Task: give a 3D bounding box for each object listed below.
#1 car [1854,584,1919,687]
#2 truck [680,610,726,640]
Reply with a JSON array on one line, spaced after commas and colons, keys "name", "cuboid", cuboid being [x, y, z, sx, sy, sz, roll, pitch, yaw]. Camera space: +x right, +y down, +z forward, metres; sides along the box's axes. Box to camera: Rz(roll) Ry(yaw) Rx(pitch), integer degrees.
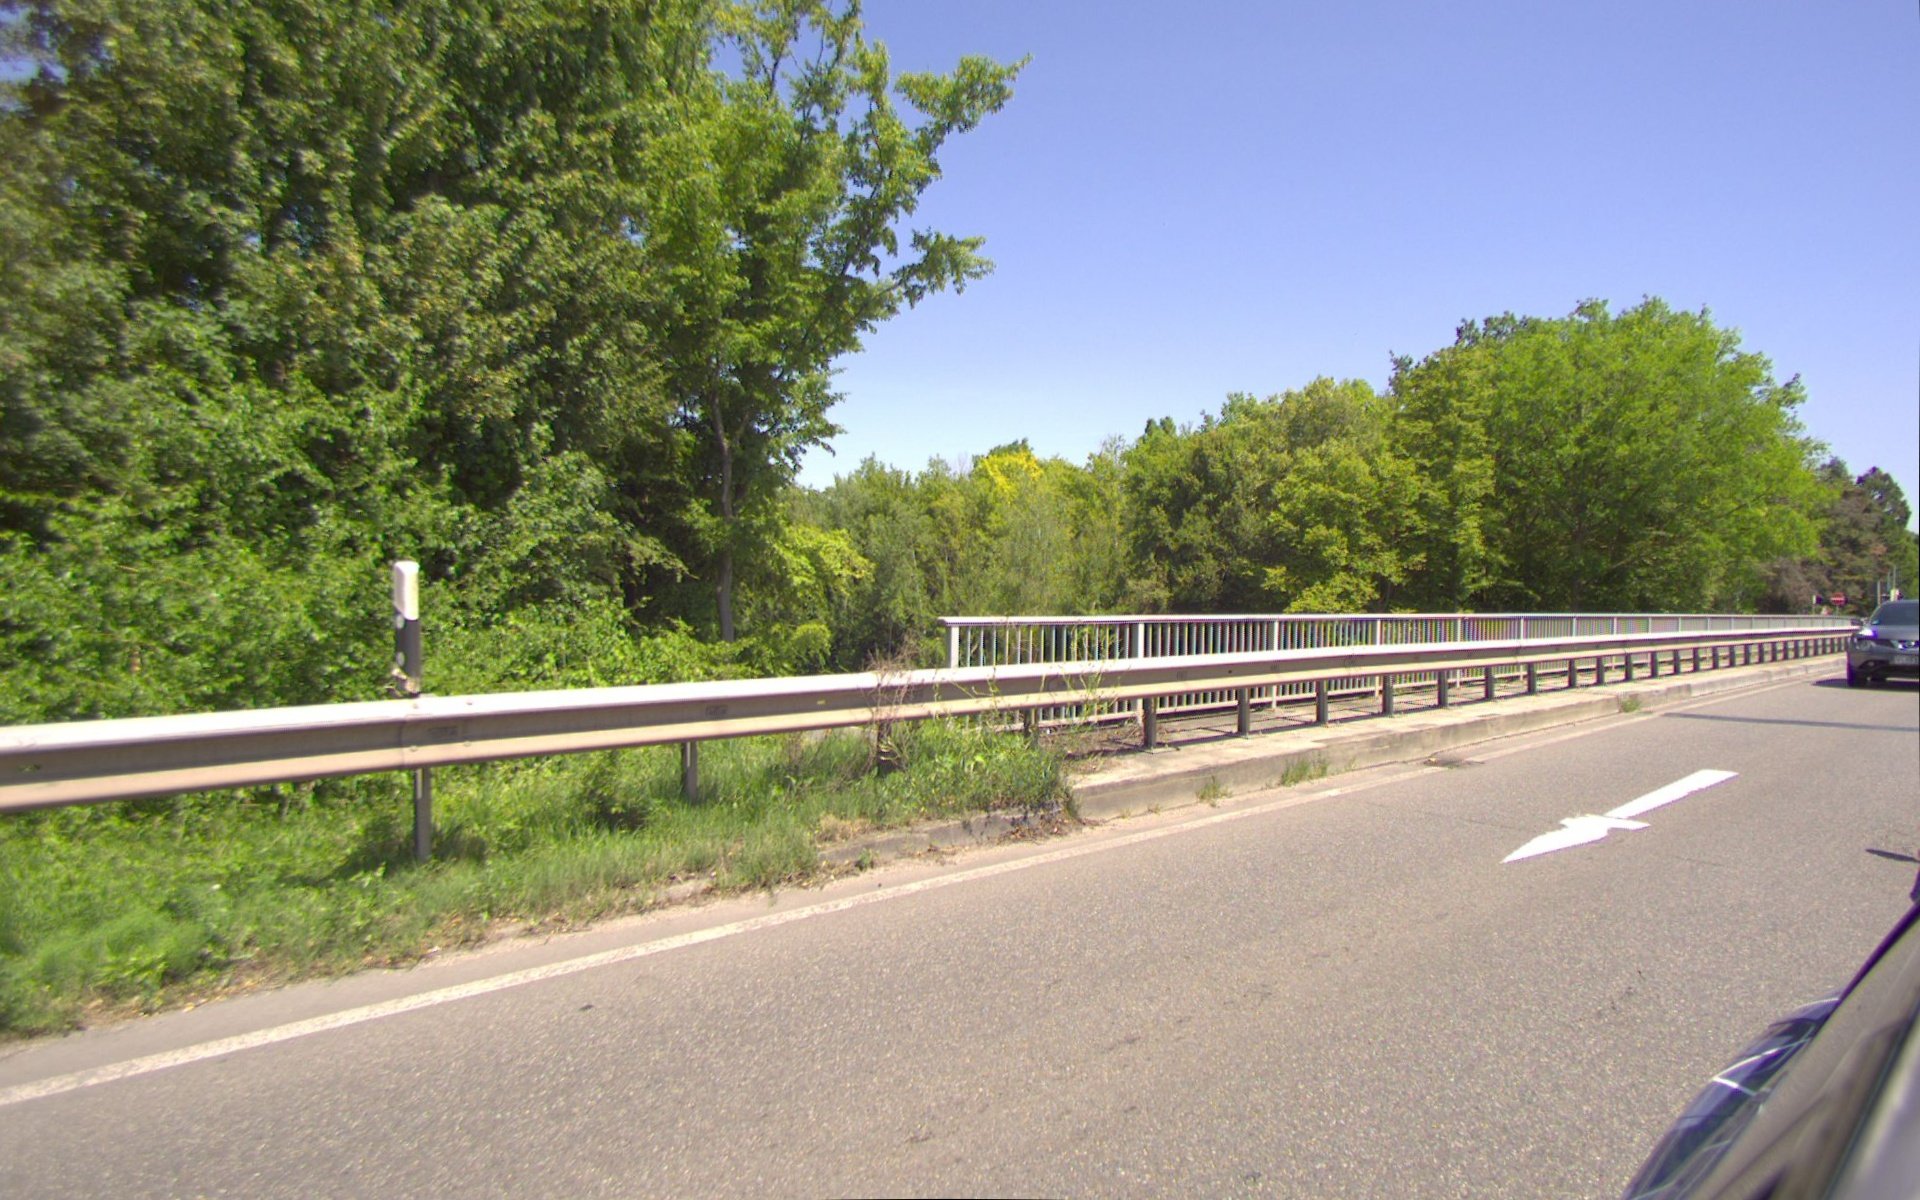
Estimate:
[{"name": "car", "cuboid": [17.565, 0.587, 18.102, 3.930, 1.706, 1.847, 0, 1, -41]}, {"name": "truck", "cuboid": [-28.867, 2.753, 113.838, 2.089, 3.121, 4.897, 2, 1, 32]}]
